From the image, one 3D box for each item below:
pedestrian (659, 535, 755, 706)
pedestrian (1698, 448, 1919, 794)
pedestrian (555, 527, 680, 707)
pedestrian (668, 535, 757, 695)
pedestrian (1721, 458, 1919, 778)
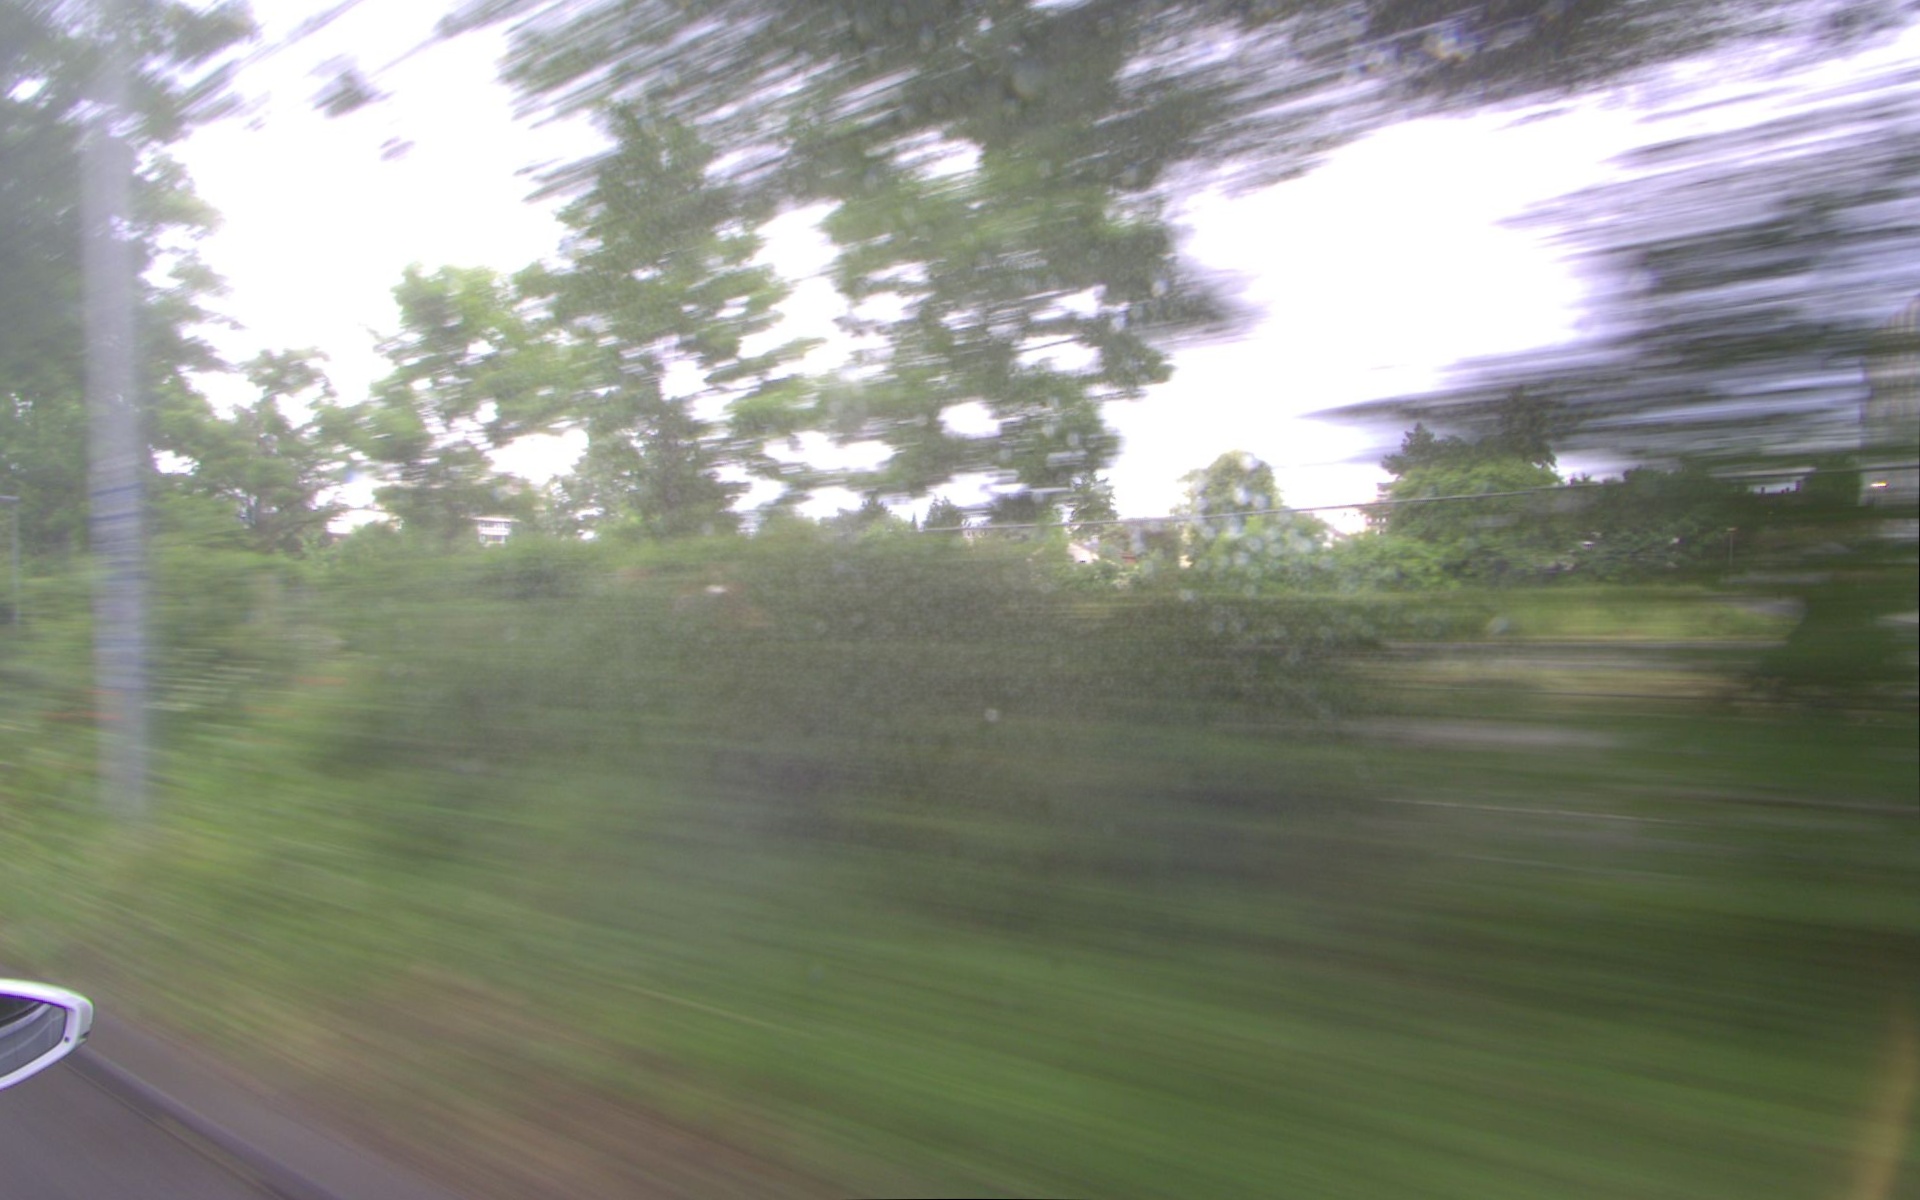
[{"bbox_3d":[-3.142,0.237,12.471,0.710,2.041,0.822,0,3,31],"label":"pedestrian"},{"bbox_3d":[5.509,0.122,6.496,1.023,2.041,0.924,0,2,28],"label":"pedestrian"},{"bbox_3d":[-4.089,0.194,11.983,1.023,2.041,0.924,0,2,28],"label":"pedestrian"},{"bbox_3d":[-3.263,0.185,13.226,0.710,2.041,0.822,0,2,31],"label":"pedestrian"},{"bbox_3d":[6.016,0.113,6.943,1.023,2.041,0.924,0,2,28],"label":"pedestrian"}]
